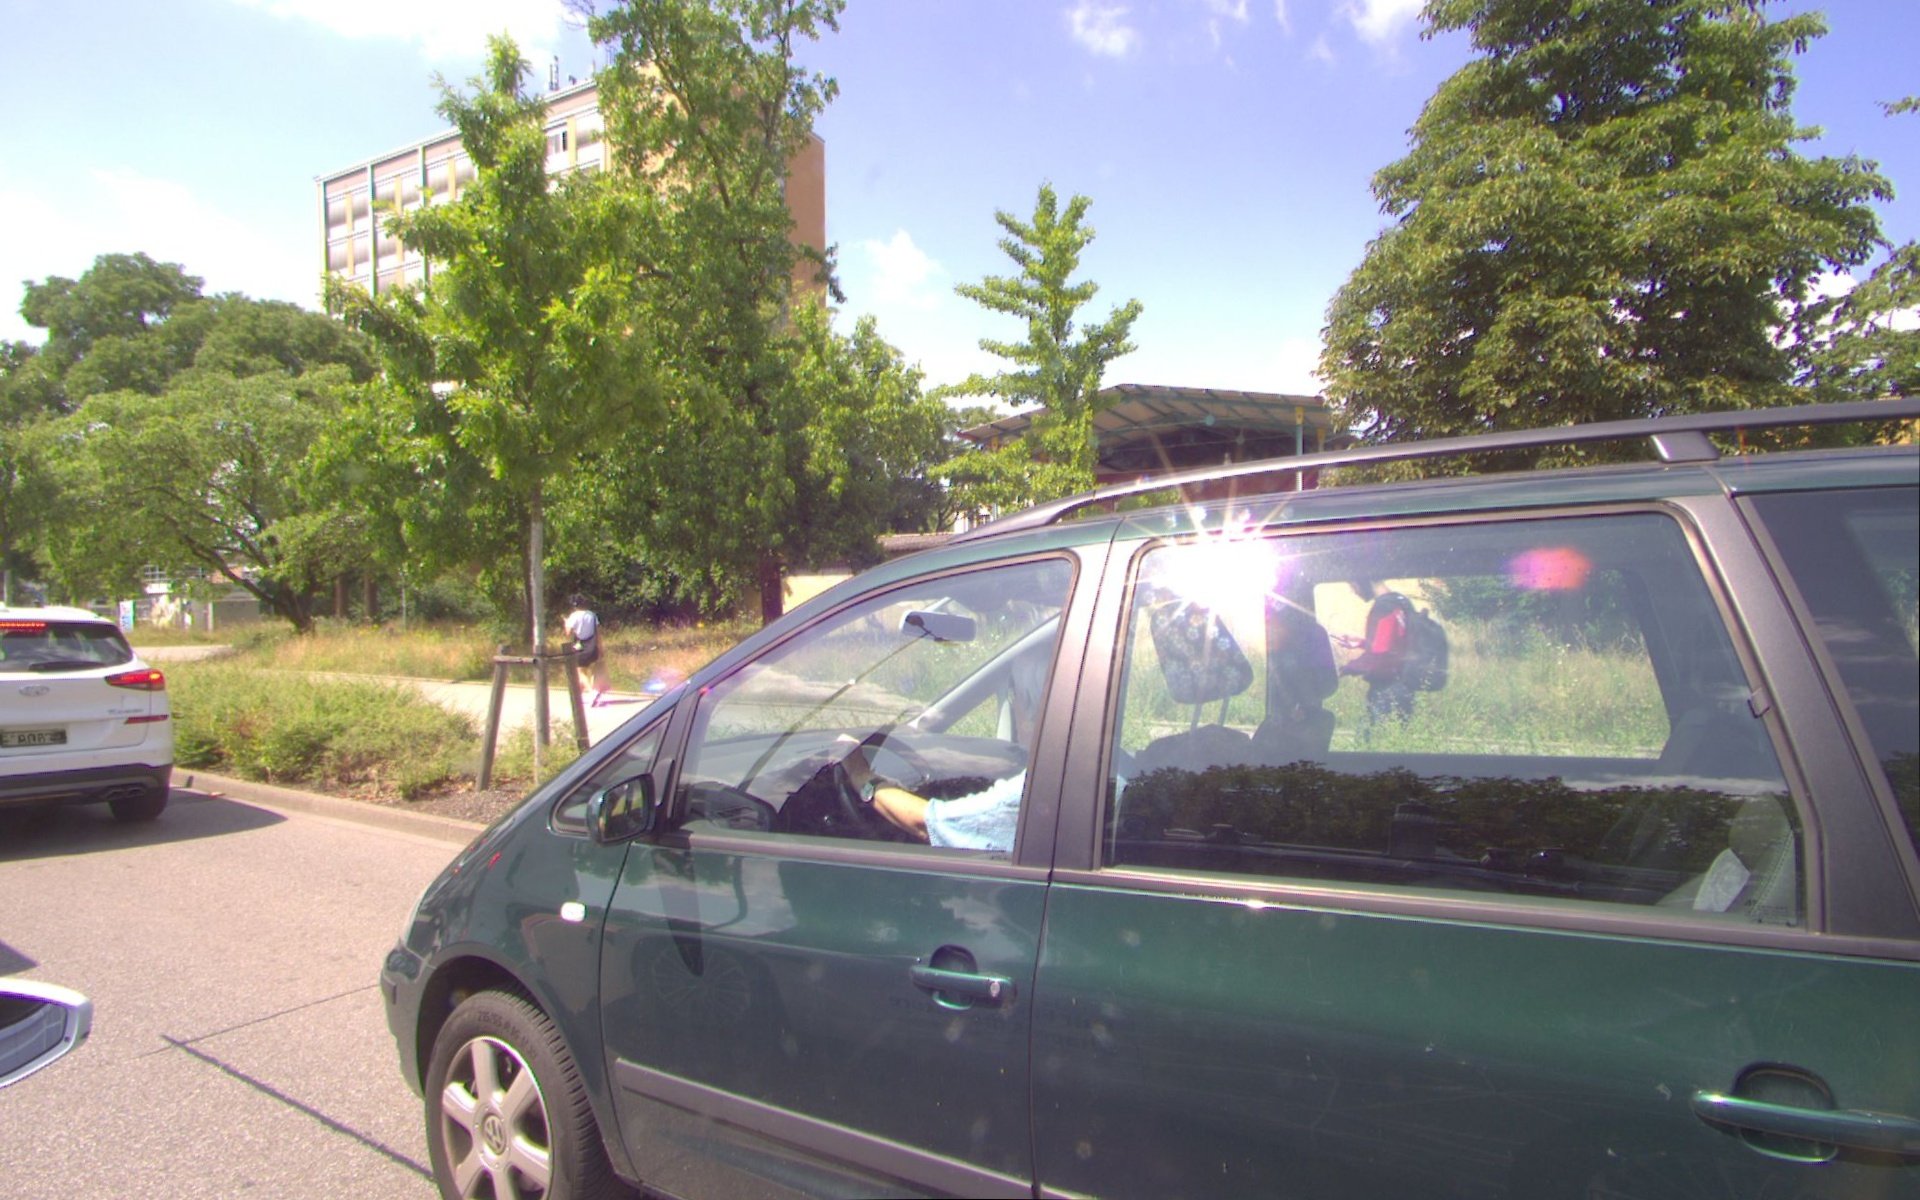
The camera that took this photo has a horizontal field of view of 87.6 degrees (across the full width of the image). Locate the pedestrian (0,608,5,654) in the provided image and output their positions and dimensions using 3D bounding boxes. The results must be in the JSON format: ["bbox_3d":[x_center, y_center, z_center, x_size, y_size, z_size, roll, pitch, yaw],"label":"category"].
[{"bbox_3d":[-38.298,1.213,39.546,0.806,1.813,0.755,0,0,40],"label":"pedestrian"}]

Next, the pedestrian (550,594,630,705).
[{"bbox_3d":[-5.422,0.703,14.686,0.804,1.578,0.757,0,1,32],"label":"pedestrian"}]

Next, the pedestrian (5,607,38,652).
[{"bbox_3d":[-40.009,1.244,42.676,0.802,1.874,0.759,0,1,22],"label":"pedestrian"}]

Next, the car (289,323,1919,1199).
[{"bbox_3d":[0.536,0.636,2.279,4.329,1.737,1.799,0,-2,32],"label":"car"}]

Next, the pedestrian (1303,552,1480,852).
[{"bbox_3d":[2.688,0.583,6.239,0.807,1.706,0.754,0,1,44],"label":"pedestrian"}]

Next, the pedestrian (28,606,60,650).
[{"bbox_3d":[-39.853,1.207,43.553,0.803,1.874,0.759,0,1,24],"label":"pedestrian"}]

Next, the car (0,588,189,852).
[{"bbox_3d":[-7.757,0.787,7.658,3.919,1.700,1.810,0,0,34],"label":"car"}]

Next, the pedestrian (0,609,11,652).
[{"bbox_3d":[-42.302,1.354,43.907,0.803,1.874,0.758,0,1,27],"label":"pedestrian"}]

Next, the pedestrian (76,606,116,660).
[{"bbox_3d":[-26.952,1.015,31.242,0.805,1.677,0.756,0,1,36],"label":"pedestrian"}]
